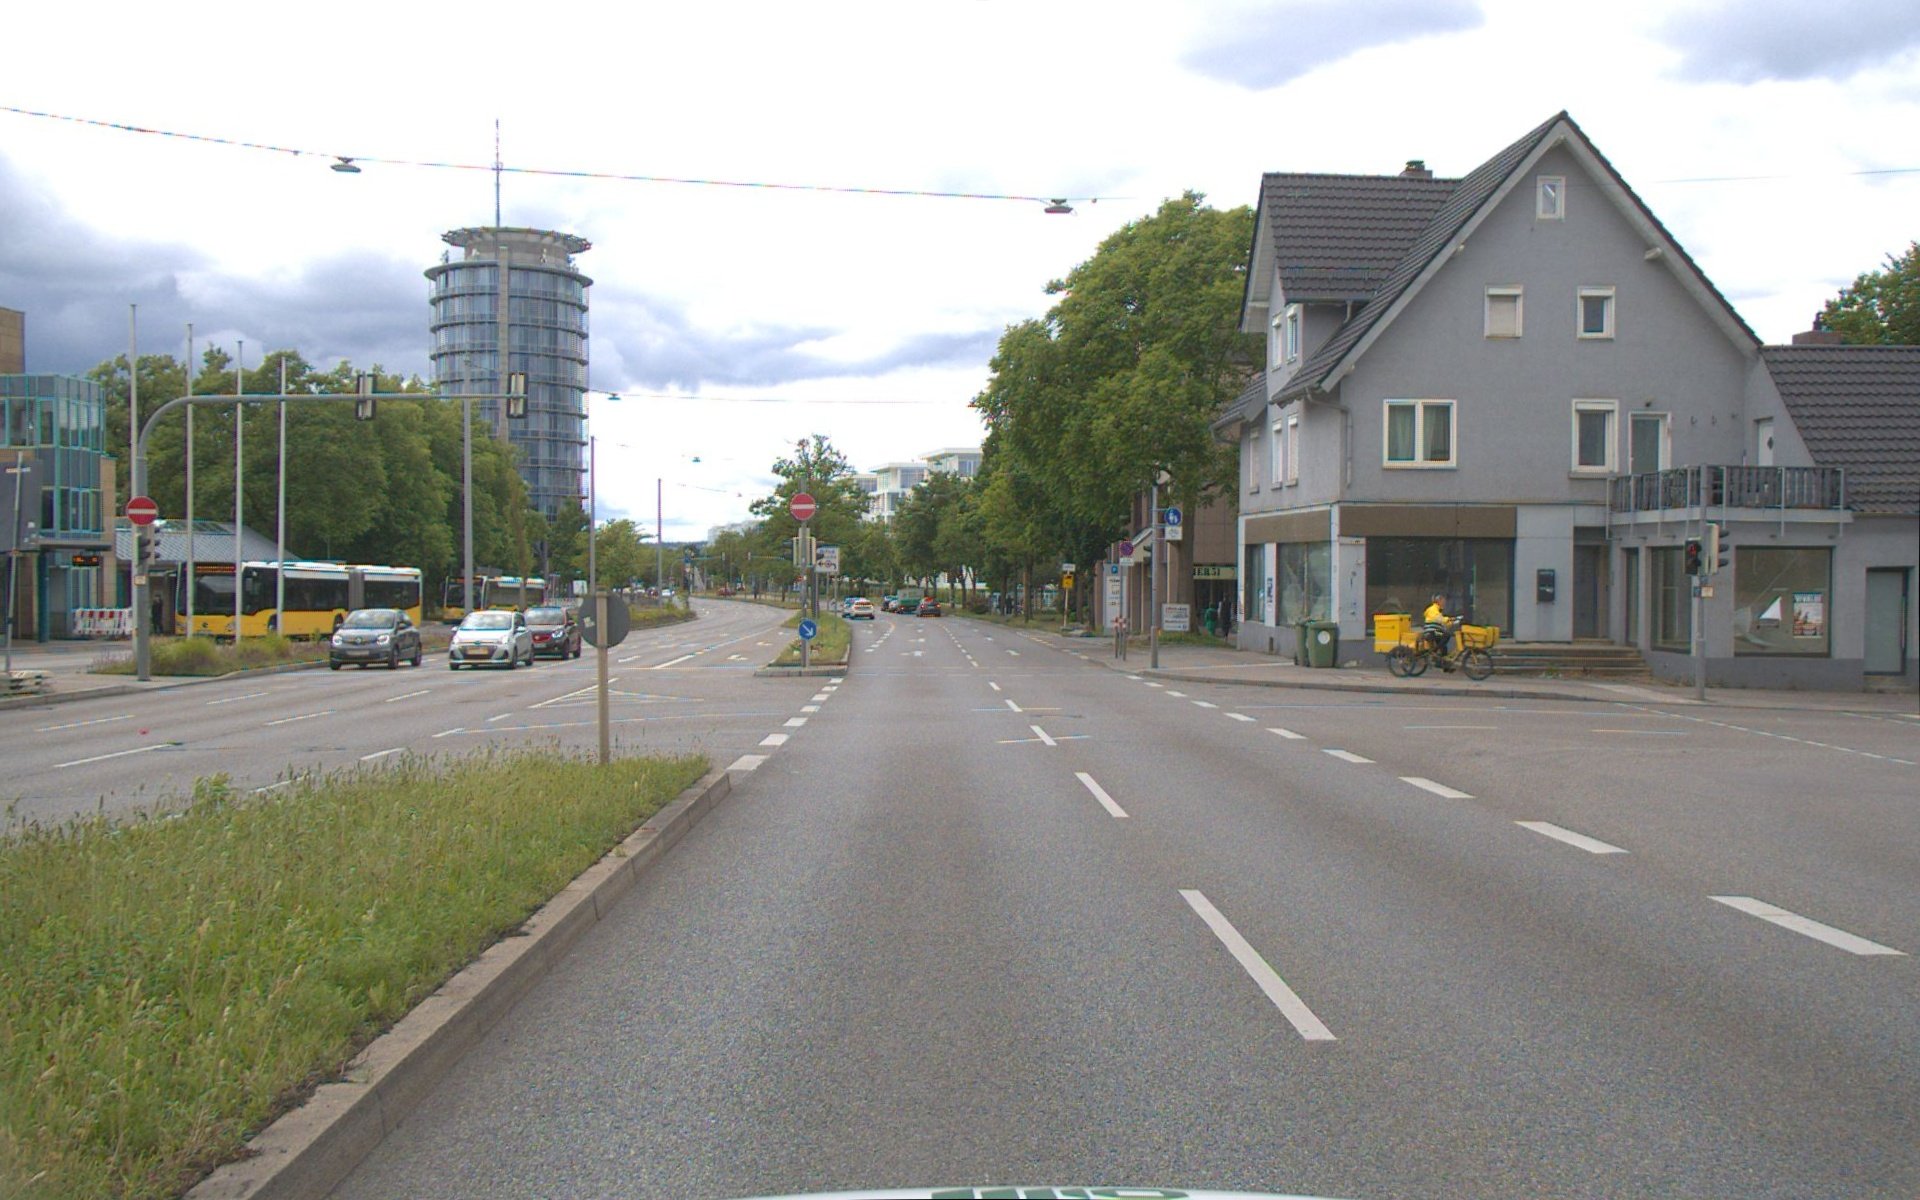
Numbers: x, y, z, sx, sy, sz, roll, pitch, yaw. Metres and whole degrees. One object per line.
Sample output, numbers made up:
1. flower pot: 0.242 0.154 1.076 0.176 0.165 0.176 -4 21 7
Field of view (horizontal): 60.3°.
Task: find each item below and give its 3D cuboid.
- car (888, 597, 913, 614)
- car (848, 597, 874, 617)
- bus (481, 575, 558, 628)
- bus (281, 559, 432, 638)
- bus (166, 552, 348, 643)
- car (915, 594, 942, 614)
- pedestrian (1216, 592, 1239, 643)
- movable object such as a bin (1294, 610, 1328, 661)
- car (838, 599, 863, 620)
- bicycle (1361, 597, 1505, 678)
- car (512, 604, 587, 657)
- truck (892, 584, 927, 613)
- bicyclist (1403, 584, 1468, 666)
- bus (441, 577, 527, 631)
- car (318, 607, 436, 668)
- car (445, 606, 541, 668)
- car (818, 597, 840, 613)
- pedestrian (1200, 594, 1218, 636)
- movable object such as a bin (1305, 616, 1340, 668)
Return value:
1. car: -5.687 0.540 157.501 1.957 1.534 3.992 0 0 -9
2. car: -7.659 0.543 127.685 1.827 1.474 3.995 0 0 -6
3. bus: -31.049 0.109 116.922 2.970 3.516 9.907 1 0 -2
4. bus: -26.571 -0.072 73.355 2.751 3.187 9.303 2 0 3
5. bus: -26.939 -0.091 64.009 2.718 3.187 9.440 2 0 2
6. car: -2.563 0.315 133.938 1.954 1.624 3.997 0 0 -4
7. pedestrian: 9.928 0.642 61.306 0.644 1.858 0.842 -2 0 -2
8. movable object such as a bin: 7.954 0.804 37.539 0.596 1.123 0.709 0 0 -2
9. car: -9.103 0.792 137.822 1.955 1.701 3.995 0 0 -6
10. bicycle: 9.587 0.738 33.558 2.632 1.534 0.959 1 1 37
11. car: -12.391 0.899 50.076 1.626 1.534 3.764 0 0 -5
12. truck: -4.594 -0.116 150.167 2.804 2.563 6.279 0 0 -6
13. bicyclist: 9.643 0.495 33.540 0.921 1.626 0.957 1 1 42
14. bus: -30.521 0.229 106.581 3.022 3.218 10.729 1 0 -4
15. car: -15.397 0.957 43.891 1.778 1.534 3.999 0 0 -1
16. car: -12.256 0.935 43.607 1.711 1.491 3.787 0 1 -4
17. car: -13.079 0.510 165.642 1.953 1.534 3.999 0 0 -1
18. pedestrian: 9.486 0.556 63.061 0.550 1.577 0.544 -2 0 -2
19. movable object such as a bin: 8.039 0.931 36.691 0.613 1.123 0.709 0 0 -2
